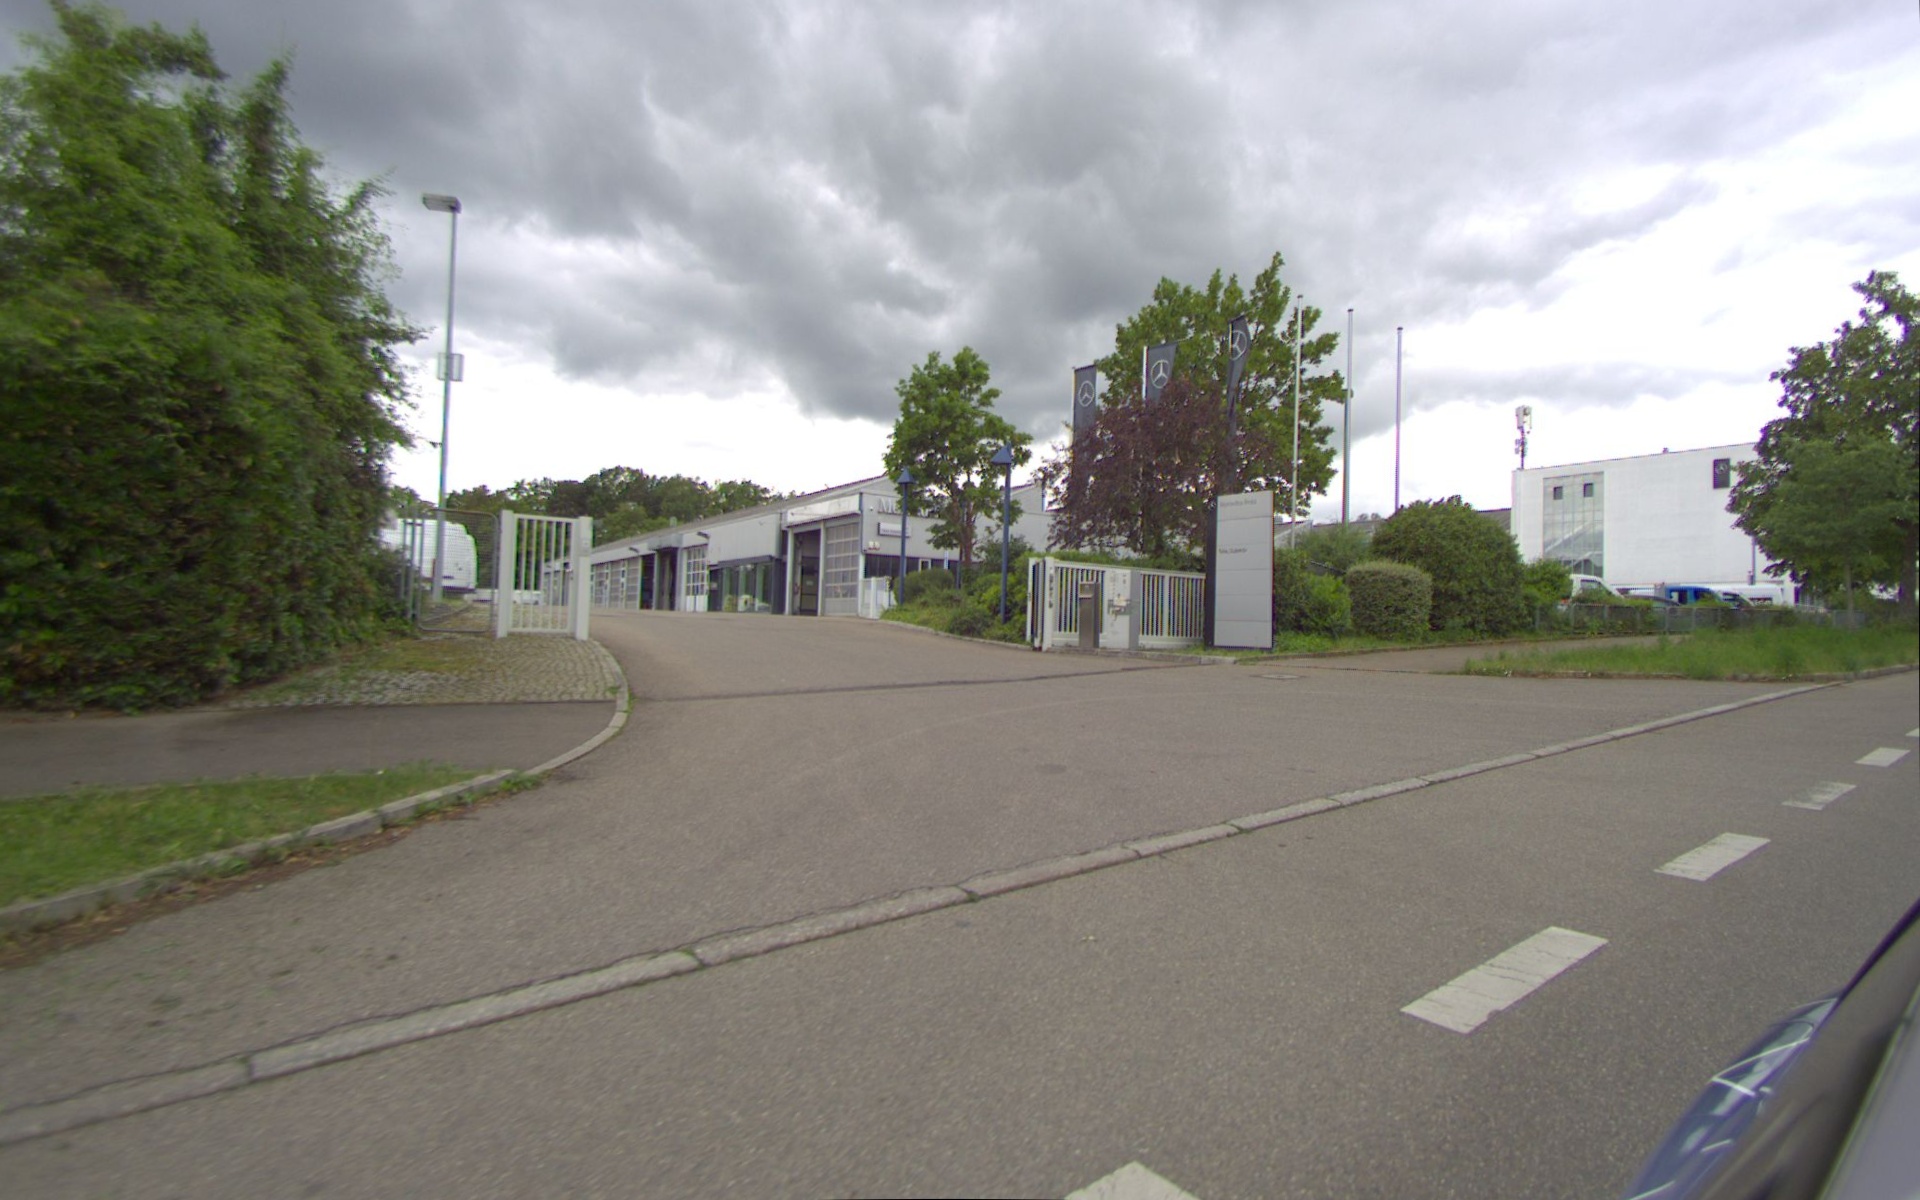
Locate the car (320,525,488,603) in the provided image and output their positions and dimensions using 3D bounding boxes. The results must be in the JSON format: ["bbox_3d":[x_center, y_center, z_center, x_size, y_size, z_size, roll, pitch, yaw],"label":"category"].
[{"bbox_3d":[-21.350,-1.346,38.982,5.362,2.711,2.256,2,-1,10],"label":"car"}]

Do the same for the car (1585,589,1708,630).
[{"bbox_3d":[28.226,0.405,41.774,3.961,1.650,1.981,-1,-1,28],"label":"car"}]

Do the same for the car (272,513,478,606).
[{"bbox_3d":[-18.899,-1.279,32.873,5.352,2.711,2.260,2,-1,4],"label":"car"}]

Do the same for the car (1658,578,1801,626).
[{"bbox_3d":[37.041,0.110,48.933,5.217,2.216,2.049,-1,-1,30],"label":"car"}]

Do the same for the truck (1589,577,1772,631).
[{"bbox_3d":[31.322,0.196,44.295,6.193,2.241,2.225,-1,-1,28],"label":"truck"}]

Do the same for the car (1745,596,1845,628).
[{"bbox_3d":[54.769,0.775,66.486,4.511,2.060,2.061,-1,-1,15],"label":"car"}]

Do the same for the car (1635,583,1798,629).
[{"bbox_3d":[34.309,0.307,46.186,5.784,1.982,2.047,-1,-1,34],"label":"car"}]

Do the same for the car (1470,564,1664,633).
[{"bbox_3d":[22.383,-0.023,37.604,5.982,2.397,2.336,-1,-1,32],"label":"car"}]
